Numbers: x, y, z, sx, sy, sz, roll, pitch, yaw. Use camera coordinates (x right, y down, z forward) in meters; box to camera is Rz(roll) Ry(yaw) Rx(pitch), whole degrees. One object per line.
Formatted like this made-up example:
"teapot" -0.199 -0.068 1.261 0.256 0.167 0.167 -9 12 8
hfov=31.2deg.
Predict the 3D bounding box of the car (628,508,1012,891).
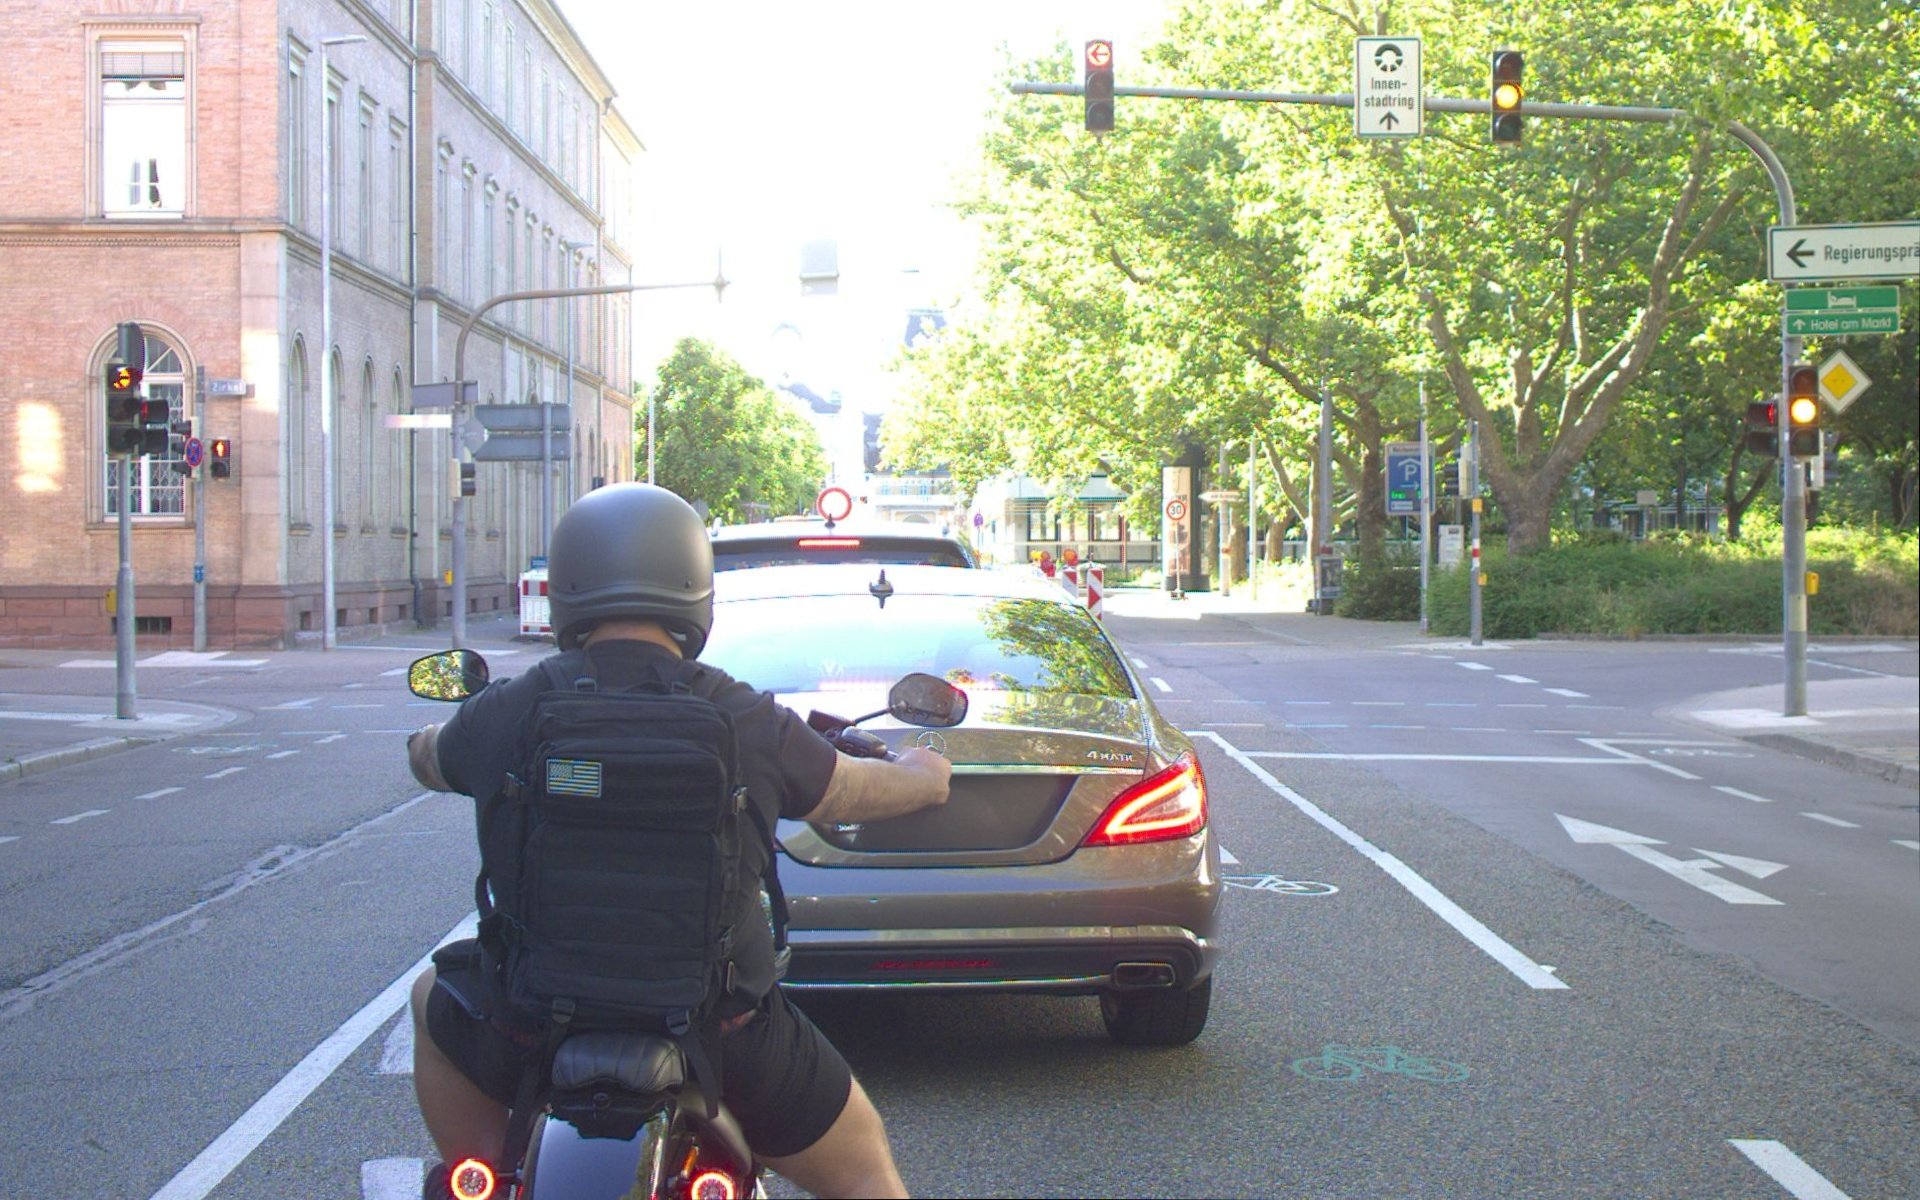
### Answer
"car" -0.629 0.415 16.970 1.651 1.646 4.000 1 1 -1

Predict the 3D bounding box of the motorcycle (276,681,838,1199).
"motorcycle" -0.555 0.784 5.419 0.660 1.236 2.058 1 1 -1

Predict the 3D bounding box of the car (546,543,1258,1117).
"car" -0.399 0.578 11.125 1.824 1.481 4.334 1 1 -7

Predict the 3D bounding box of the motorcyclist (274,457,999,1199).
"motorcyclist" -0.458 0.606 5.325 0.990 1.605 1.120 1 0 -1
